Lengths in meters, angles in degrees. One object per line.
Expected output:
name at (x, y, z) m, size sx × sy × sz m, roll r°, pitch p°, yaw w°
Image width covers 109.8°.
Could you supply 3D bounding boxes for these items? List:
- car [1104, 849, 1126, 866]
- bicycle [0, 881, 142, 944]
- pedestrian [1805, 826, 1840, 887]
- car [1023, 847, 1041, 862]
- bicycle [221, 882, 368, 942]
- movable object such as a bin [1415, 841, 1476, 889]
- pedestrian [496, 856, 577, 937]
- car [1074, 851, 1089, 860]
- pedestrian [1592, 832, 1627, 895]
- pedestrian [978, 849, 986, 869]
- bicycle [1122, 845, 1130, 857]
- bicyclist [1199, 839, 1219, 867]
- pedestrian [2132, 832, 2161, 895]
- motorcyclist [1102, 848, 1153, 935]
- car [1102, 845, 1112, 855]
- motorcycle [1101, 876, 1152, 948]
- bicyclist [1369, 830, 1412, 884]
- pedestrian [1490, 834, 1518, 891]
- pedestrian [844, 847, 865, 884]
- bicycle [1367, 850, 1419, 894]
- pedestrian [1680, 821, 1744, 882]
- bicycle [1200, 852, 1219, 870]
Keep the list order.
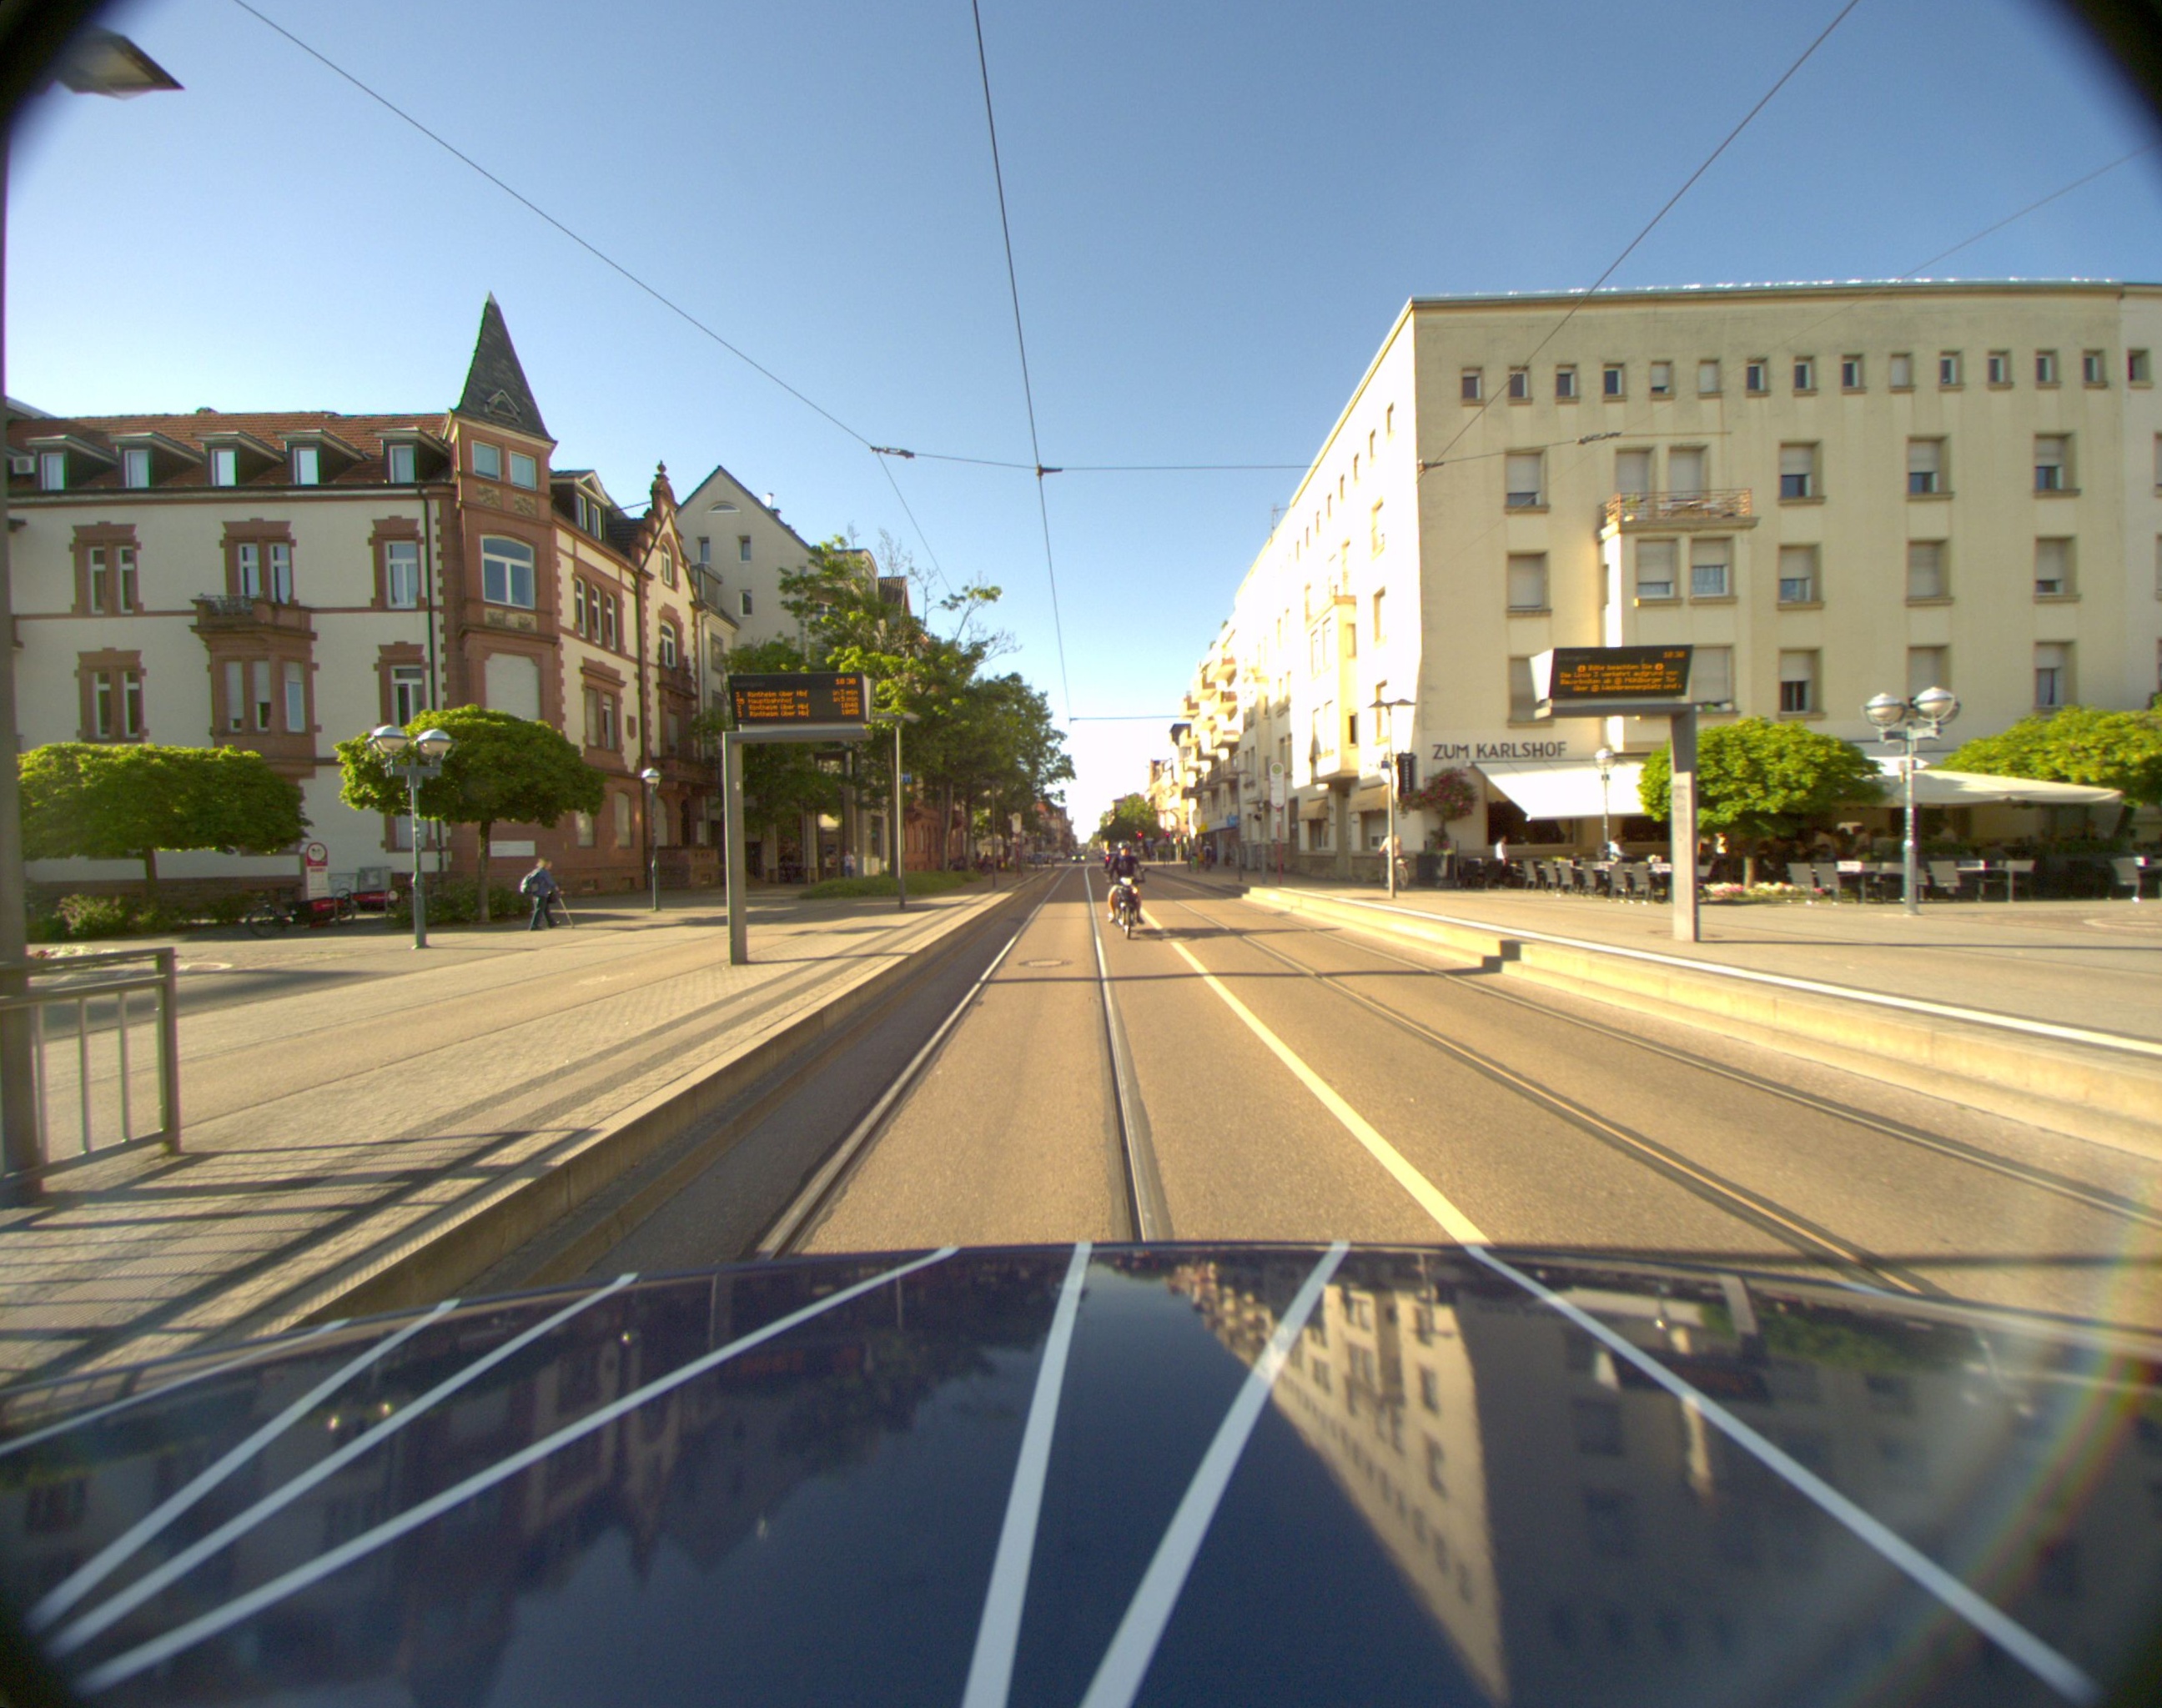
car at (3.067, 0.288, 69.284) m, size 1.671 × 1.479 × 3.999 m, roll -2°, pitch 1°, yaw -1°
bicycle at (-25.824, 1.437, 19.096) m, size 0.746 × 1.364 × 2.914 m, roll -1°, pitch 1°, yaw 1°
pedestrian at (22.191, 0.072, 22.737) m, size 0.578 × 1.813 × 0.647 m, roll -2°, pitch 1°, yaw -36°
car at (-7.035, 0.069, 108.602) m, size 1.998 × 2.002 × 4.001 m, roll -1°, pitch 1°, yaw 4°
bicycle at (-18.222, 1.302, 17.739) m, size 0.790 × 1.062 × 2.804 m, roll -2°, pitch 2°, yaw -8°
movable object such as a bin at (11.173, 0.320, 23.338) m, size 1.319 × 1.392 × 1.128 m, roll -1°, pitch 1°, yaw -1°
pedestrian at (-11.764, 0.896, 16.466) m, size 1.070 × 1.659 × 0.956 m, roll -2°, pitch 1°, yaw -12°
car at (0.097, 0.197, 110.447) m, size 1.998 × 1.318 × 3.863 m, roll -1°, pitch 1°, yaw 1°
pedestrian at (14.054, 0.261, 20.213) m, size 0.672 × 1.634 × 0.678 m, roll -1°, pitch -2°, yaw 29°
pedestrian at (-10.121, 0.473, 77.421) m, size 0.653 × 2.002 × 0.559 m, roll -1°, pitch 1°, yaw 3°
bicycle at (7.050, -0.461, 118.701) m, size 1.227 × 1.719 × 3.107 m, roll -1°, pitch 1°, yaw 2°
bicyclist at (8.173, -0.074, 48.512) m, size 1.006 × 1.783 × 1.095 m, roll -1°, pitch 1°, yaw -5°
pedestrian at (29.794, 0.280, 21.025) m, size 0.675 × 1.726 × 0.683 m, roll 1°, pitch -2°, yaw -27°
motorcyclist at (0.812, 0.637, 13.601) m, size 0.821 × 1.466 × 1.114 m, roll -1°, pitch 1°, yaw 1°
car at (5.465, -0.814, 158.819) m, size 1.877 × 2.105 × 4.000 m, roll -1°, pitch 1°, yaw 2°
motorcycle at (0.788, 0.995, 13.784) m, size 0.799 × 1.090 × 2.428 m, roll -1°, pitch 1°, yaw 1°
bicyclist at (8.613, 0.073, 21.166) m, size 0.829 × 1.447 × 0.877 m, roll -2°, pitch 1°, yaw 5°
pedestrian at (12.586, 0.268, 22.621) m, size 0.672 × 1.634 × 0.752 m, roll -1°, pitch -2°, yaw 27°
pedestrian at (-10.810, 0.540, 36.239) m, size 0.742 × 1.725 × 0.877 m, roll -2°, pitch 1°, yaw -6°
bicycle at (8.625, 0.476, 21.071) m, size 0.730 × 1.107 × 1.977 m, roll -2°, pitch 1°, yaw 4°
pedestrian at (17.064, -0.052, 20.559) m, size 1.066 × 1.634 × 0.757 m, roll 0°, pitch -2°, yaw -4°
bicycle at (8.175, 0.437, 48.507) m, size 0.714 × 1.119 × 2.035 m, roll -1°, pitch 1°, yaw -4°
